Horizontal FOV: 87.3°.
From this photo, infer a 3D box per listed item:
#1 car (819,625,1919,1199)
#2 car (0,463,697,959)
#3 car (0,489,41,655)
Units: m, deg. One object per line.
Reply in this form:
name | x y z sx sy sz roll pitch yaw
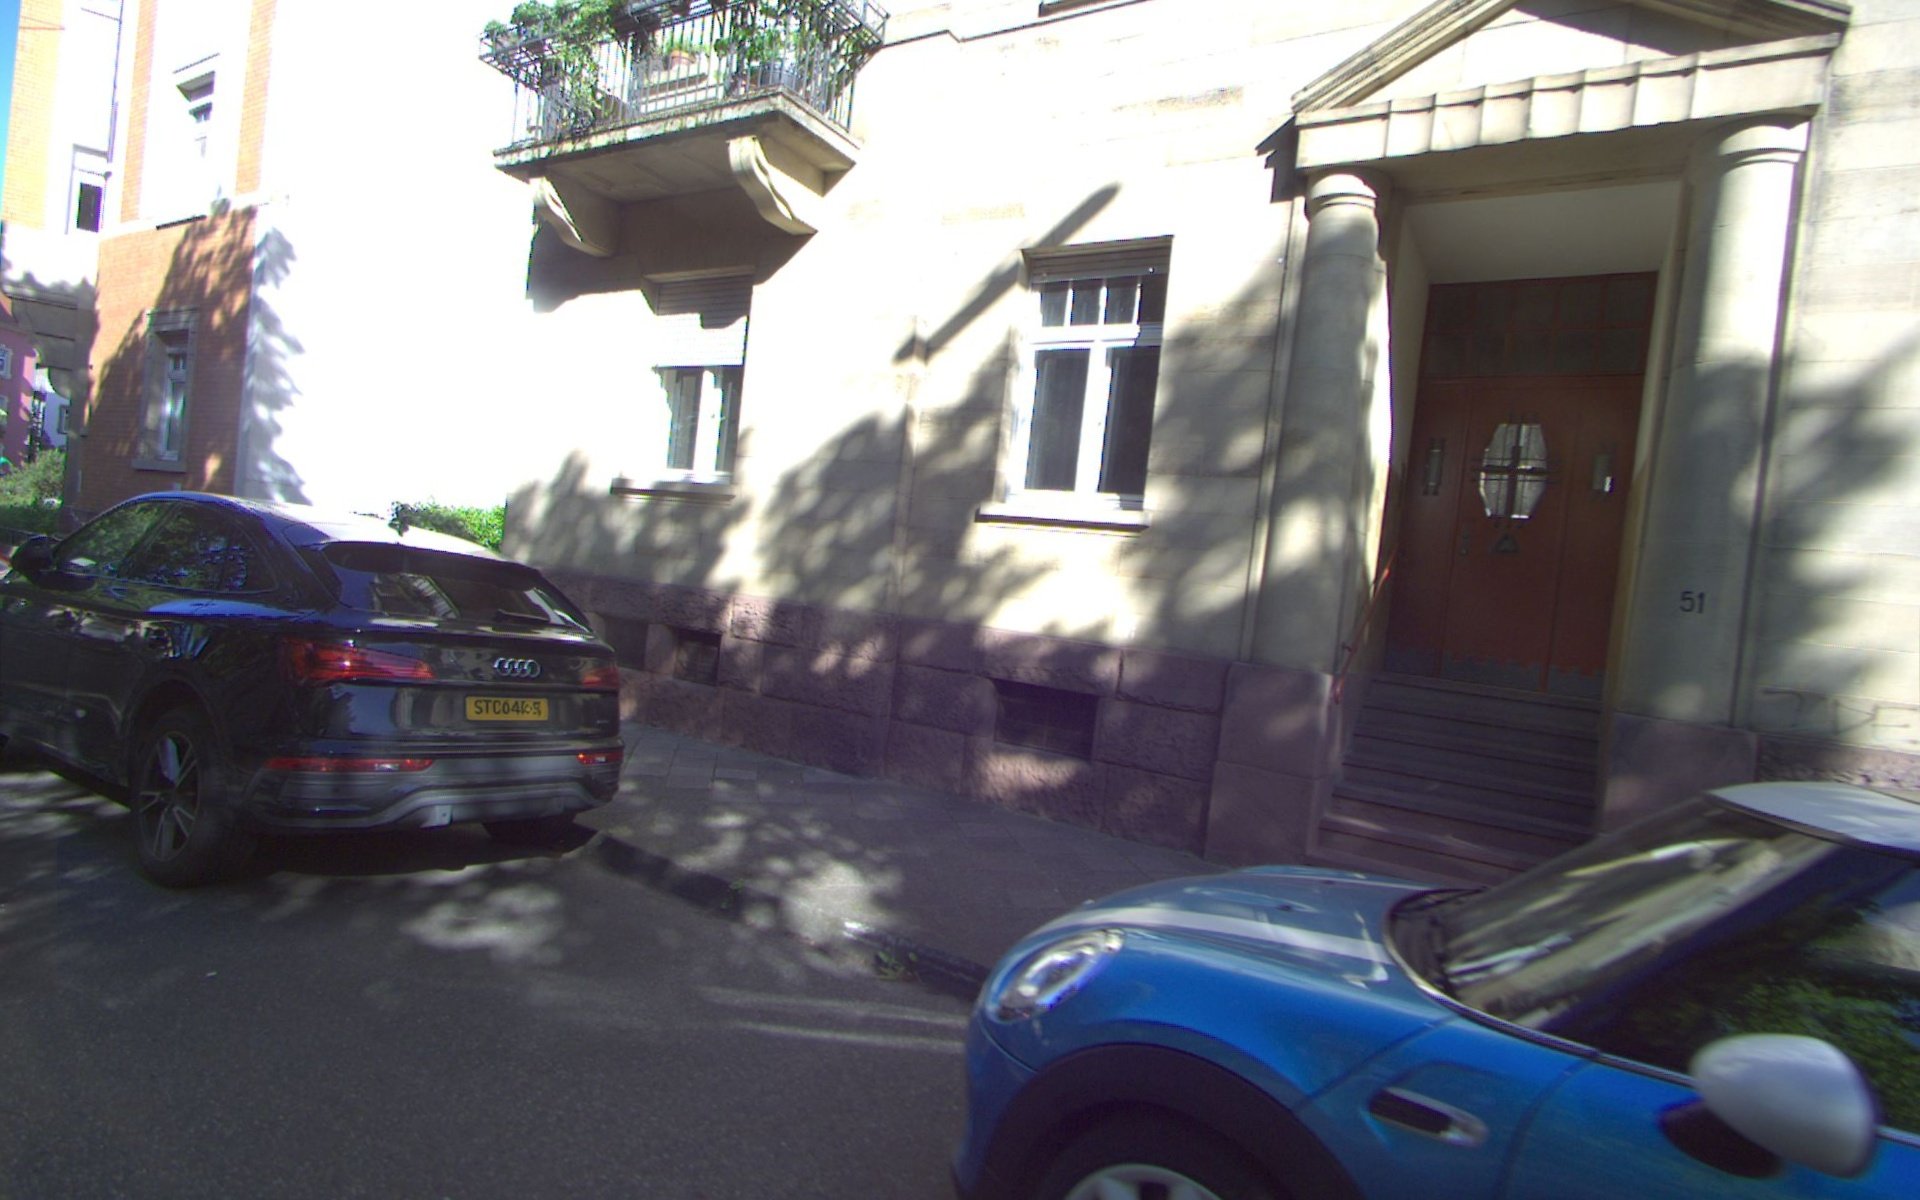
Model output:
car | 1.664 1.017 1.906 3.573 1.432 1.592 7 -1 33
car | -3.816 0.299 5.485 4.415 1.663 1.868 7 -1 29
car | -11.021 -0.534 9.988 3.934 1.555 1.649 7 -2 32
